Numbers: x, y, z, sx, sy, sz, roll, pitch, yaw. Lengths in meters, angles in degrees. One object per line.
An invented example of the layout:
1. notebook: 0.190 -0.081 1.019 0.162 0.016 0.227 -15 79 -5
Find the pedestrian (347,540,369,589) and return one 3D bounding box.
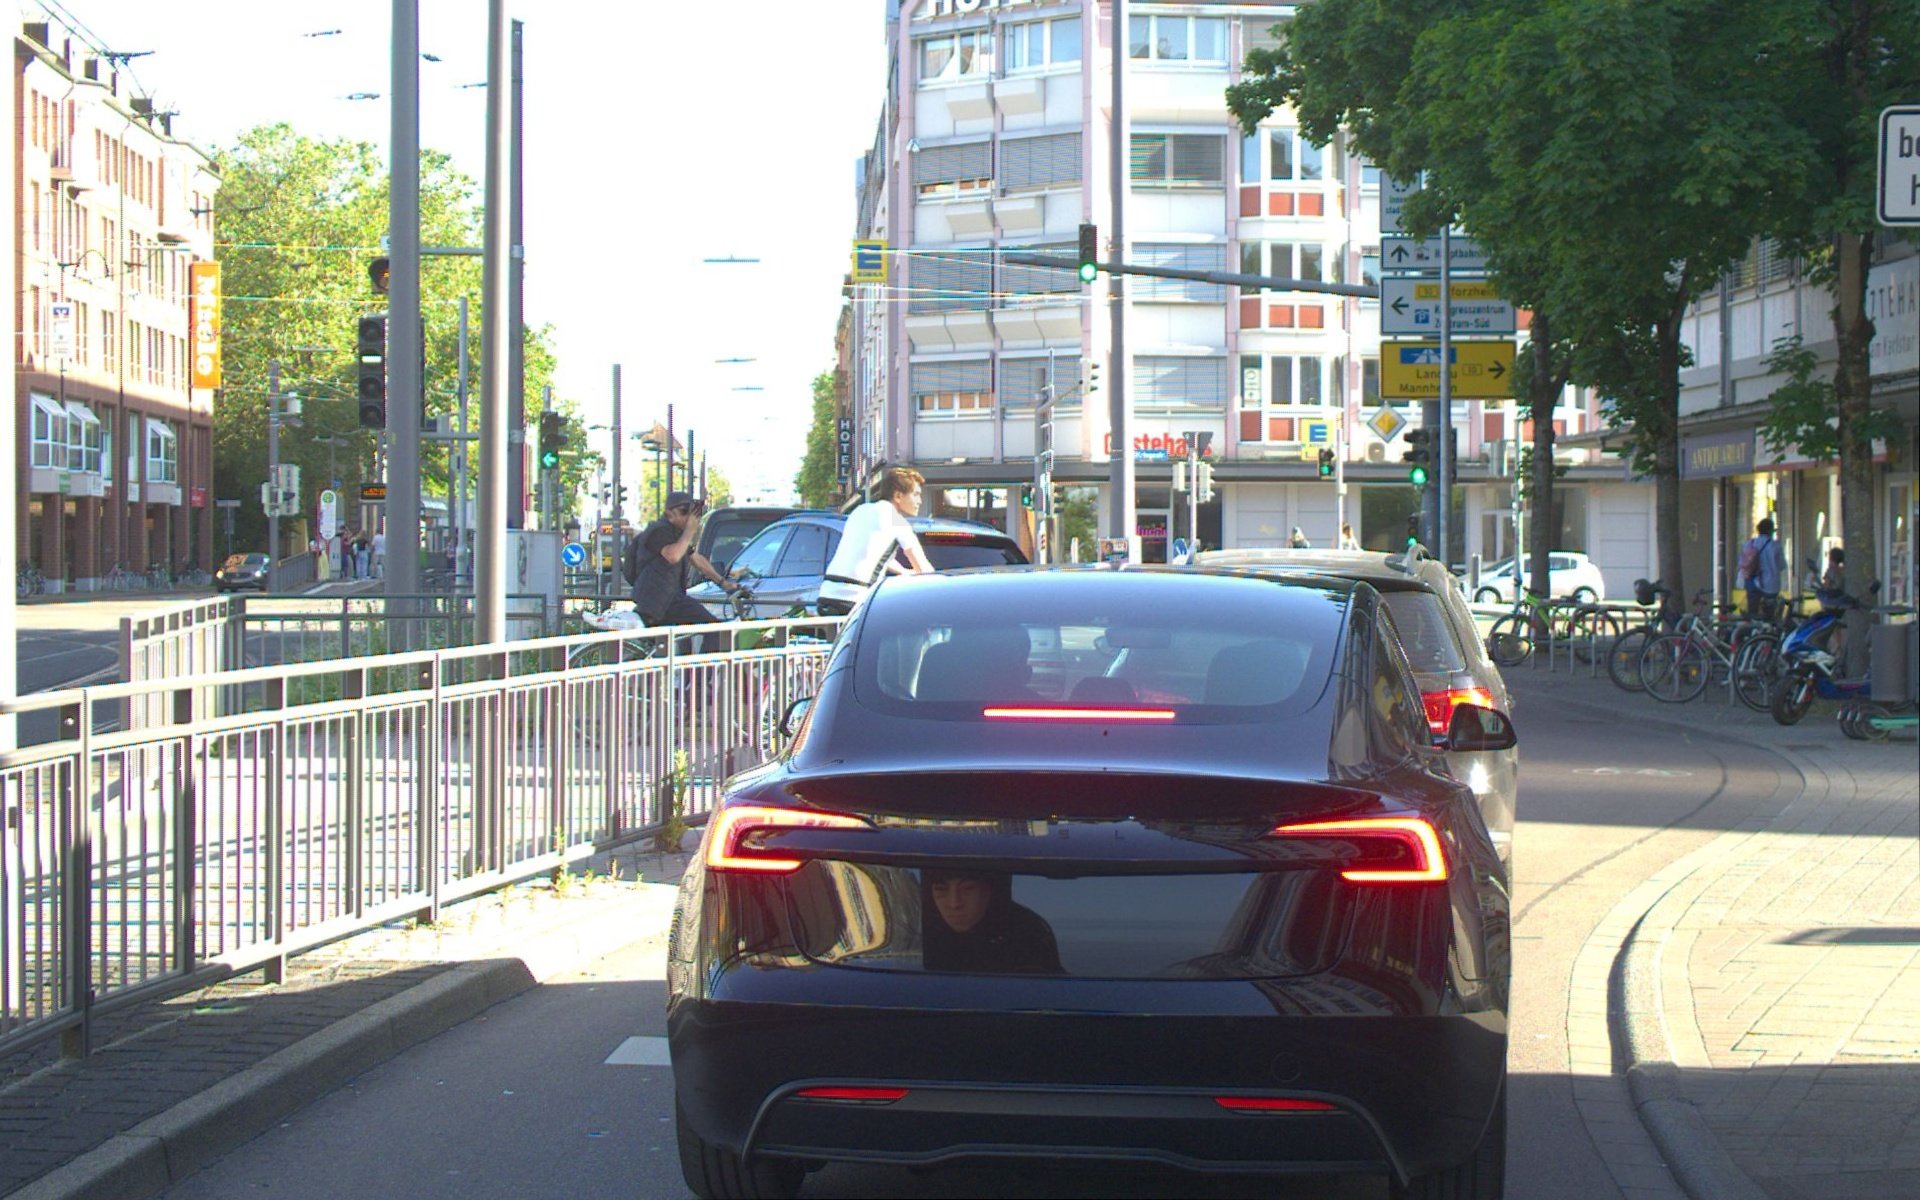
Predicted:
1. pedestrian: -19.112 -1.134 109.160 0.583 1.525 0.638 1 0 -17

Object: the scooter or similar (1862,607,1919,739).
1. scooter or similar: 7.613 0.572 27.106 0.956 1.035 0.160 0 1 3

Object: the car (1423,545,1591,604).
1. car: 13.726 -0.627 86.436 3.840 1.427 1.804 0 -1 -5

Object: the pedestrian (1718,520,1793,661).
1. pedestrian: 9.856 -0.125 42.613 0.843 1.715 0.879 1 0 11

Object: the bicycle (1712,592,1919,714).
1. bicycle: 7.795 0.473 31.251 1.849 1.052 0.399 -1 1 -11

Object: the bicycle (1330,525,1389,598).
1. bicycle: 8.066 -0.791 69.418 0.582 1.458 1.686 0 1 -16

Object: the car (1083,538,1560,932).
1. car: 1.521 0.462 15.178 1.765 1.439 4.528 1 1 4

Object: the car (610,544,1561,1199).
1. car: 0.333 0.620 8.513 1.790 1.446 3.939 1 2 3

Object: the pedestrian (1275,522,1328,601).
1. pedestrian: 6.884 -0.778 69.338 0.779 1.571 0.868 1 2 -15

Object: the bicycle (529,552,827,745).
1. bicycle: -1.819 0.303 22.277 1.820 1.207 0.642 0 1 -31

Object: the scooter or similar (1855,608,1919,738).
1. scooter or similar: 7.619 0.580 27.306 0.964 1.023 0.160 0 1 3

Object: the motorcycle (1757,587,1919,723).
1. motorcycle: 7.734 0.470 29.223 1.787 1.126 0.504 1 0 -2

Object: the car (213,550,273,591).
1. car: -26.542 -1.105 127.365 1.817 1.449 3.978 -1 1 -7

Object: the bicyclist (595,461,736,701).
1. bicyclist: -1.906 -0.121 22.219 0.681 1.518 0.635 1 0 -31

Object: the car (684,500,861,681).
1. car: -1.778 -0.105 32.895 1.572 1.612 3.784 1 1 -3

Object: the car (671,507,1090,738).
1. car: -0.675 0.139 26.218 1.839 1.629 3.486 1 1 -27

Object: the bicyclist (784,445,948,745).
1. bicyclist: -0.521 -0.031 19.062 0.681 1.625 0.578 0 0 -38

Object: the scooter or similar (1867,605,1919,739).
1. scooter or similar: 7.608 0.562 26.907 0.964 1.039 0.160 0 1 3

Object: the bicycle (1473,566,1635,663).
1. bicycle: 7.329 0.173 42.442 1.890 1.152 0.480 -1 0 0

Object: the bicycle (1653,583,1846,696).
1. bicycle: 7.648 0.378 33.340 1.767 1.053 0.458 1 0 5

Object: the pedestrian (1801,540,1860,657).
1. pedestrian: 10.709 -0.021 42.297 0.645 1.417 0.621 1 0 10

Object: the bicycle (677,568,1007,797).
1. bicycle: -0.636 0.438 18.993 1.820 1.207 0.582 0 1 -39

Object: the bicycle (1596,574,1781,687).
1. bicycle: 7.480 0.313 35.338 1.809 1.147 0.435 0 0 -4
